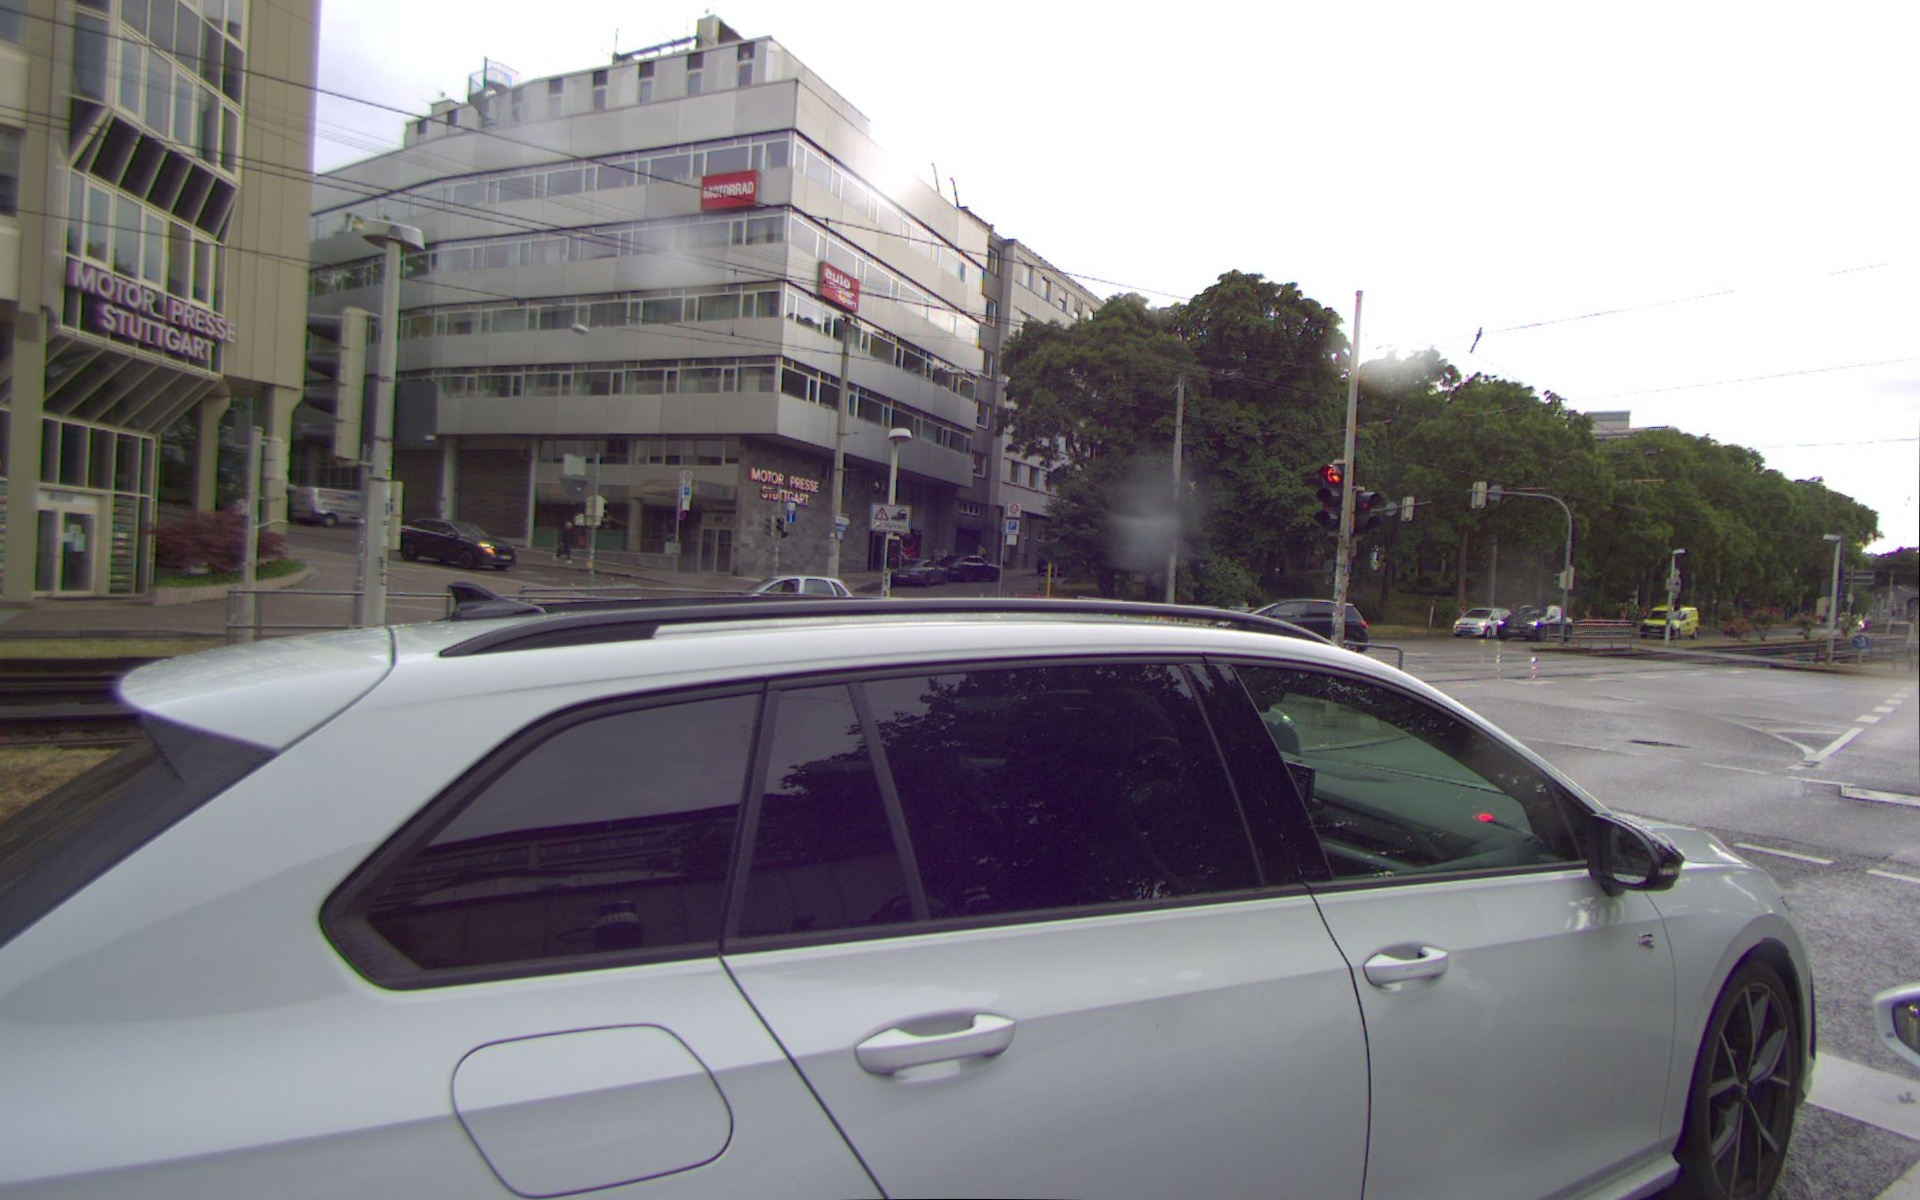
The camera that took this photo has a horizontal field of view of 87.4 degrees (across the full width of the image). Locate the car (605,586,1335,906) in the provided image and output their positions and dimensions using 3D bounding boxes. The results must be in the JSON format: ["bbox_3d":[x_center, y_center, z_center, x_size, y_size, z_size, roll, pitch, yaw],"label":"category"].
[{"bbox_3d":[0.193,0.720,6.489,4.423,1.461,1.787,2,0,-30],"label":"car"}]

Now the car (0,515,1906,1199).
[{"bbox_3d":[0.295,0.703,2.476,4.423,1.461,1.787,2,0,-30],"label":"car"}]

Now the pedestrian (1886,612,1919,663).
[{"bbox_3d":[35.369,1.379,37.623,0.862,1.826,0.860,1,3,-44],"label":"pedestrian"}]

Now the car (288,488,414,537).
[{"bbox_3d":[-32.032,-4.542,53.000,1.964,2.040,5.403,2,0,30],"label":"car"}]

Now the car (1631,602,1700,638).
[{"bbox_3d":[40.315,1.135,57.334,4.525,1.875,1.905,2,1,-38],"label":"car"}]

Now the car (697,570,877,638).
[{"bbox_3d":[-3.999,0.097,23.203,3.817,1.375,1.623,2,2,-24],"label":"car"}]

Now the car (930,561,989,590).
[{"bbox_3d":[0.030,-1.352,55.588,1.842,1.450,3.998,3,2,22],"label":"car"}]

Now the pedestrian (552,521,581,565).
[{"bbox_3d":[-17.637,-2.557,45.026,0.833,1.886,0.719,5,2,25],"label":"pedestrian"}]

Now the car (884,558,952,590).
[{"bbox_3d":[-2.060,-1.293,50.614,1.842,1.450,4.091,3,2,22],"label":"car"}]

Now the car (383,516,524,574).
[{"bbox_3d":[-18.821,-2.046,37.327,4.794,1.601,1.999,7,3,23],"label":"car"}]

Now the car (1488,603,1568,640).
[{"bbox_3d":[26.446,0.998,46.723,3.648,1.566,1.905,2,1,-37],"label":"car"}]

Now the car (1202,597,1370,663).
[{"bbox_3d":[8.227,0.729,25.625,3.793,1.375,1.633,3,2,8],"label":"car"}]

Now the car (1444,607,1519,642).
[{"bbox_3d":[26.062,1.215,50.187,3.648,1.566,1.905,2,1,-37],"label":"car"}]

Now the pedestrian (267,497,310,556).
[{"bbox_3d":[-21.722,-2.381,32.491,0.746,1.810,0.830,6,3,25],"label":"pedestrian"}]

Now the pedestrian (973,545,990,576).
[{"bbox_3d":[1.332,-2.441,61.832,0.707,1.886,0.758,5,4,31],"label":"pedestrian"}]

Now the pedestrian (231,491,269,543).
[{"bbox_3d":[-24.098,-2.809,34.107,0.746,1.661,0.719,5,2,25],"label":"pedestrian"}]
